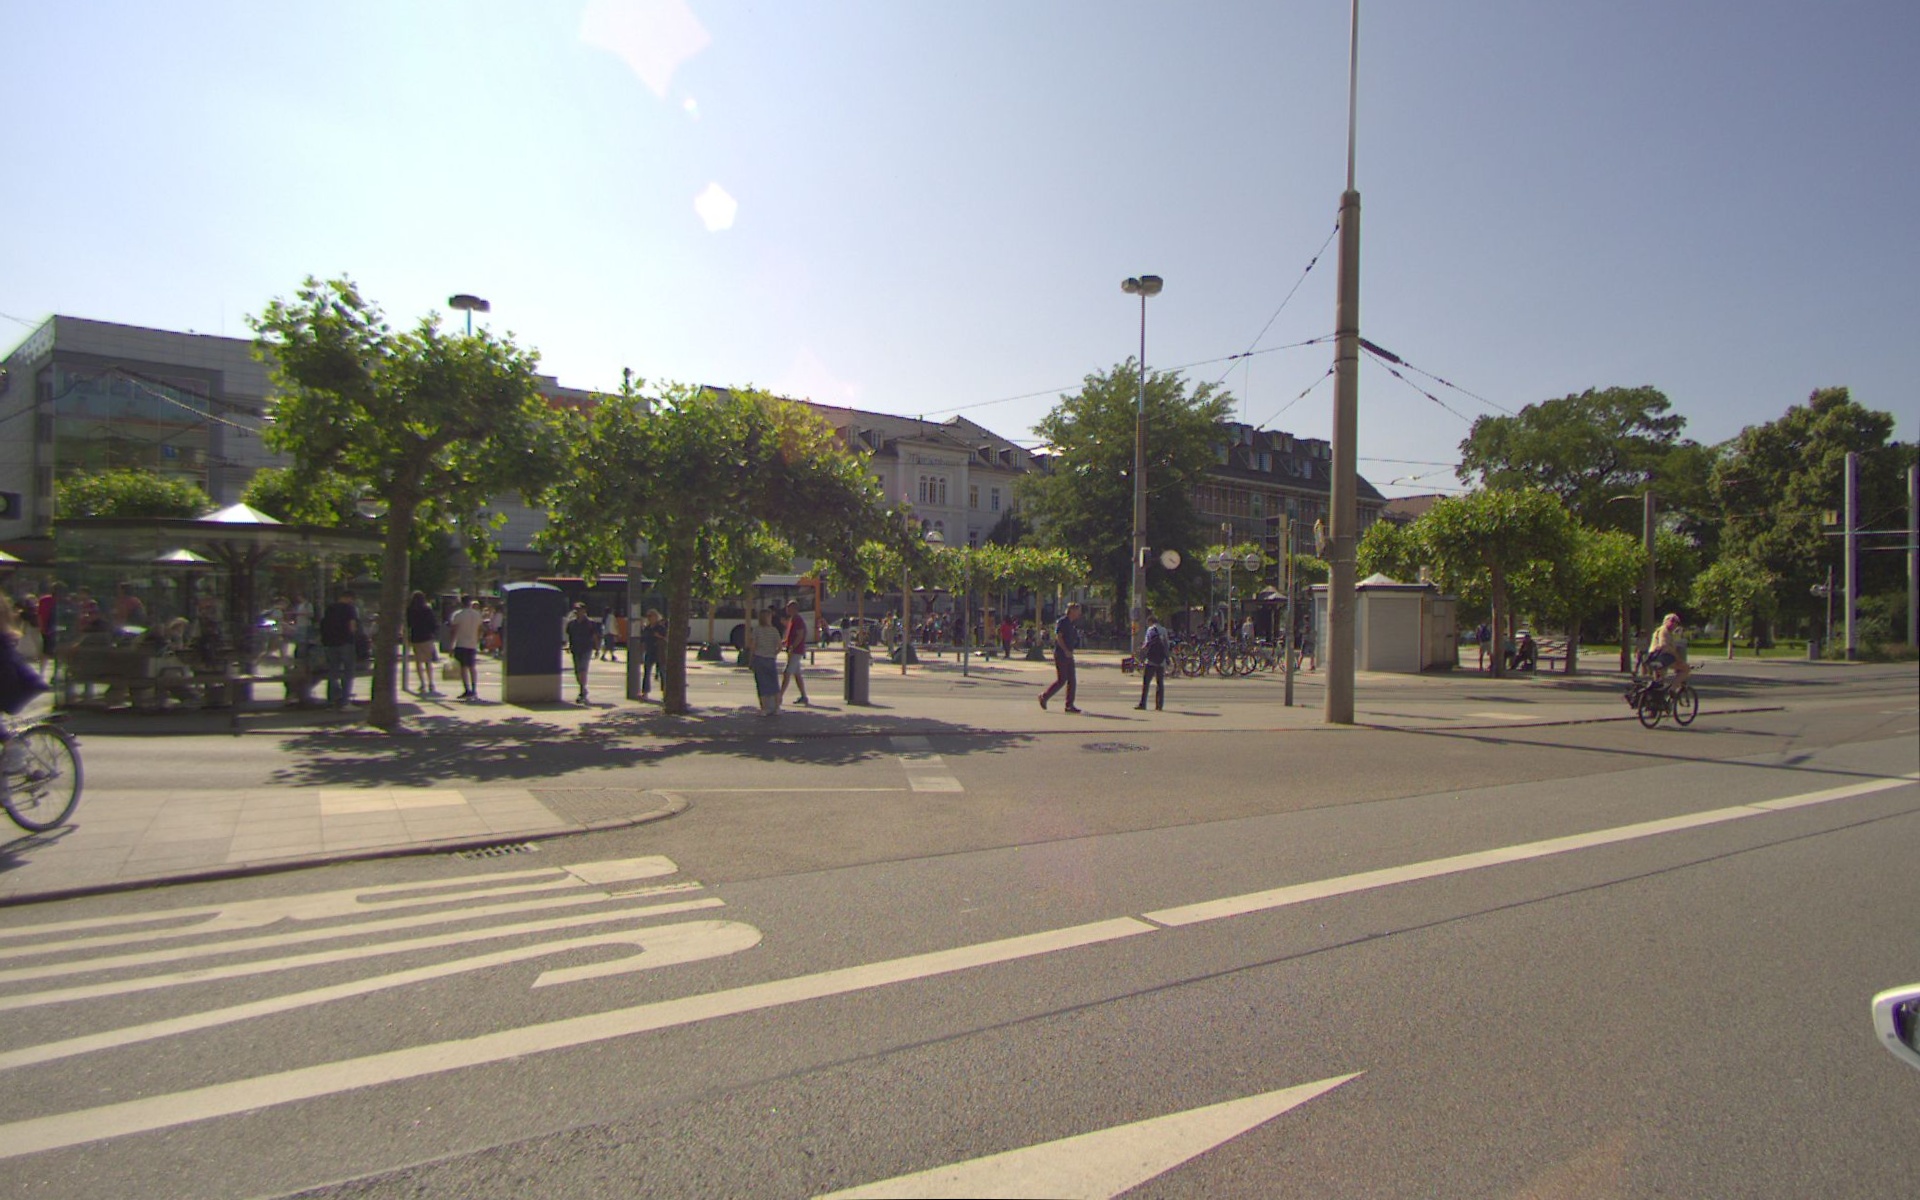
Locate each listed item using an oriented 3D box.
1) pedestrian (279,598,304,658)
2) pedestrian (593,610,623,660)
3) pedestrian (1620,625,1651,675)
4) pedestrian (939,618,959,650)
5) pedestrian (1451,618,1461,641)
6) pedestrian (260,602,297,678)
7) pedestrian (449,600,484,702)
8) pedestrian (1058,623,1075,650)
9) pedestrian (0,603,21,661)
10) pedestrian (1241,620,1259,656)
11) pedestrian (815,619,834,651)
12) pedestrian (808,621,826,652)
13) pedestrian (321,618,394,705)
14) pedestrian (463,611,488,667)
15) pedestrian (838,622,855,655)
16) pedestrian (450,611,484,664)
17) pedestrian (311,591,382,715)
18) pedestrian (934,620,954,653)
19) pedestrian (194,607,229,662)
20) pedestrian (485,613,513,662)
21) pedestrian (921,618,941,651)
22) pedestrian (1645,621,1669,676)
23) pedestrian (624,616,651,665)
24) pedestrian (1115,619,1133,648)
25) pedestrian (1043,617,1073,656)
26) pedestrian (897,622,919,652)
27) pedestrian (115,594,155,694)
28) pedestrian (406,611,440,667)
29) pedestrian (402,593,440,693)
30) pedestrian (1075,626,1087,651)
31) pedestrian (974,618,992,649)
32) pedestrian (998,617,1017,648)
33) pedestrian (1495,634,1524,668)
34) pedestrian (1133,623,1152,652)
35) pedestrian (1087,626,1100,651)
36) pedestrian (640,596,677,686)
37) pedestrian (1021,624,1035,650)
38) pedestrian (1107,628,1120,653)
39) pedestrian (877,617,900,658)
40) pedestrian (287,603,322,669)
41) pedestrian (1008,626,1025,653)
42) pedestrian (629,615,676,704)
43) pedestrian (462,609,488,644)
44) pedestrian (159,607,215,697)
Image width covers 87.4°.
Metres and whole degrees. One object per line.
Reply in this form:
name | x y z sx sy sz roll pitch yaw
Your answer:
pedestrian | -19.619 0.826 29.474 0.550 1.741 0.464 -3 -3 37
pedestrian | -10.753 1.072 30.686 0.671 1.484 0.621 -3 -3 43
pedestrian | 22.251 1.652 33.083 0.617 1.630 0.524 0 -2 -22
pedestrian | -0.534 1.644 48.424 0.674 1.484 0.618 0 -3 -38
pedestrian | 35.513 2.093 71.896 0.491 1.630 0.410 0 -3 -40
pedestrian | -16.055 0.950 23.661 0.552 1.753 0.587 -3 -3 37
pedestrian | -8.633 0.888 17.570 0.503 1.741 0.479 0 -2 -31
pedestrian | 5.145 1.756 48.555 0.573 1.279 0.620 0 -2 -22
pedestrian | -26.409 0.884 27.598 0.667 1.569 0.578 -1 -2 -5
pedestrian | 12.391 1.632 42.906 0.667 1.484 0.625 -2 -2 23
pedestrian | -6.348 1.639 46.937 0.672 1.484 0.620 0 -2 -28
pedestrian | -6.975 1.799 48.878 0.672 1.484 0.620 0 -2 -28
pedestrian | -9.888 1.012 16.502 0.787 1.389 0.681 -2 -2 15
pedestrian | -14.762 1.180 30.616 0.465 1.687 0.520 -3 -3 37
pedestrian | -5.116 1.730 45.164 0.555 1.484 0.582 0 -2 -30
pedestrian | -14.380 1.093 29.310 0.615 1.521 0.678 -3 -3 37
pedestrian | -9.258 0.801 15.159 0.612 1.818 0.681 -2 -2 17
pedestrian | -0.762 1.714 47.093 0.674 1.484 0.619 0 -3 -36
pedestrian | -21.454 0.989 28.797 0.569 1.569 0.678 -3 -3 35
pedestrian | -14.247 1.165 31.031 0.615 1.484 0.551 -3 -3 37
pedestrian | -1.347 1.608 46.432 0.673 1.484 0.619 0 -3 -34
pedestrian | 22.570 1.574 32.524 0.517 1.756 0.587 -2 -2 29
pedestrian | -9.806 1.233 30.581 0.518 1.484 0.586 -3 -3 39
pedestrian | 8.428 1.716 51.629 0.670 1.485 0.622 1 -1 -18
pedestrian | 4.718 1.755 48.481 1.065 1.817 0.963 0 -2 -22
pedestrian | -2.567 1.820 49.521 0.735 1.484 0.782 0 -3 -36
pedestrian | -15.149 0.805 18.457 0.480 1.801 0.522 0 -2 -32
pedestrian | -15.696 1.139 29.373 0.615 1.618 0.678 -3 -3 37
pedestrian | -10.226 0.812 19.047 0.598 1.839 0.573 0 -2 -31
pedestrian | 6.153 1.950 51.090 0.445 1.279 0.517 -1 -2 -15
pedestrian | 1.137 1.634 49.321 0.671 1.484 0.621 0 -2 -27
pedestrian | 2.334 1.616 49.540 0.671 1.484 0.621 0 -2 -27
pedestrian | 19.818 1.828 36.226 0.746 1.186 0.670 0 -3 -37
pedestrian | 9.384 1.927 51.656 0.671 1.484 0.621 0 -2 -27
pedestrian | 6.828 1.967 51.325 0.445 1.279 0.517 -1 -2 -15
pedestrian | -6.971 0.934 23.212 0.560 2.034 0.685 1 0 -40
pedestrian | 3.392 1.852 50.256 0.447 1.279 0.515 0 -2 -26
pedestrian | 7.830 2.061 51.271 0.445 1.279 0.517 -1 -2 -15
pedestrian | -2.585 1.358 36.440 0.616 1.484 0.676 0 -2 -25
pedestrian | -18.540 1.018 28.407 0.615 1.818 0.678 -3 -3 37
pedestrian | 2.707 1.891 48.063 0.573 1.279 0.620 0 -2 -22
pedestrian | -5.447 1.045 17.781 0.673 1.544 0.620 0 -2 -31
pedestrian | -22.334 1.227 46.272 0.669 1.569 0.846 -3 -2 32
pedestrian | -13.216 0.886 17.183 0.545 1.484 0.589 -1 -2 -10
